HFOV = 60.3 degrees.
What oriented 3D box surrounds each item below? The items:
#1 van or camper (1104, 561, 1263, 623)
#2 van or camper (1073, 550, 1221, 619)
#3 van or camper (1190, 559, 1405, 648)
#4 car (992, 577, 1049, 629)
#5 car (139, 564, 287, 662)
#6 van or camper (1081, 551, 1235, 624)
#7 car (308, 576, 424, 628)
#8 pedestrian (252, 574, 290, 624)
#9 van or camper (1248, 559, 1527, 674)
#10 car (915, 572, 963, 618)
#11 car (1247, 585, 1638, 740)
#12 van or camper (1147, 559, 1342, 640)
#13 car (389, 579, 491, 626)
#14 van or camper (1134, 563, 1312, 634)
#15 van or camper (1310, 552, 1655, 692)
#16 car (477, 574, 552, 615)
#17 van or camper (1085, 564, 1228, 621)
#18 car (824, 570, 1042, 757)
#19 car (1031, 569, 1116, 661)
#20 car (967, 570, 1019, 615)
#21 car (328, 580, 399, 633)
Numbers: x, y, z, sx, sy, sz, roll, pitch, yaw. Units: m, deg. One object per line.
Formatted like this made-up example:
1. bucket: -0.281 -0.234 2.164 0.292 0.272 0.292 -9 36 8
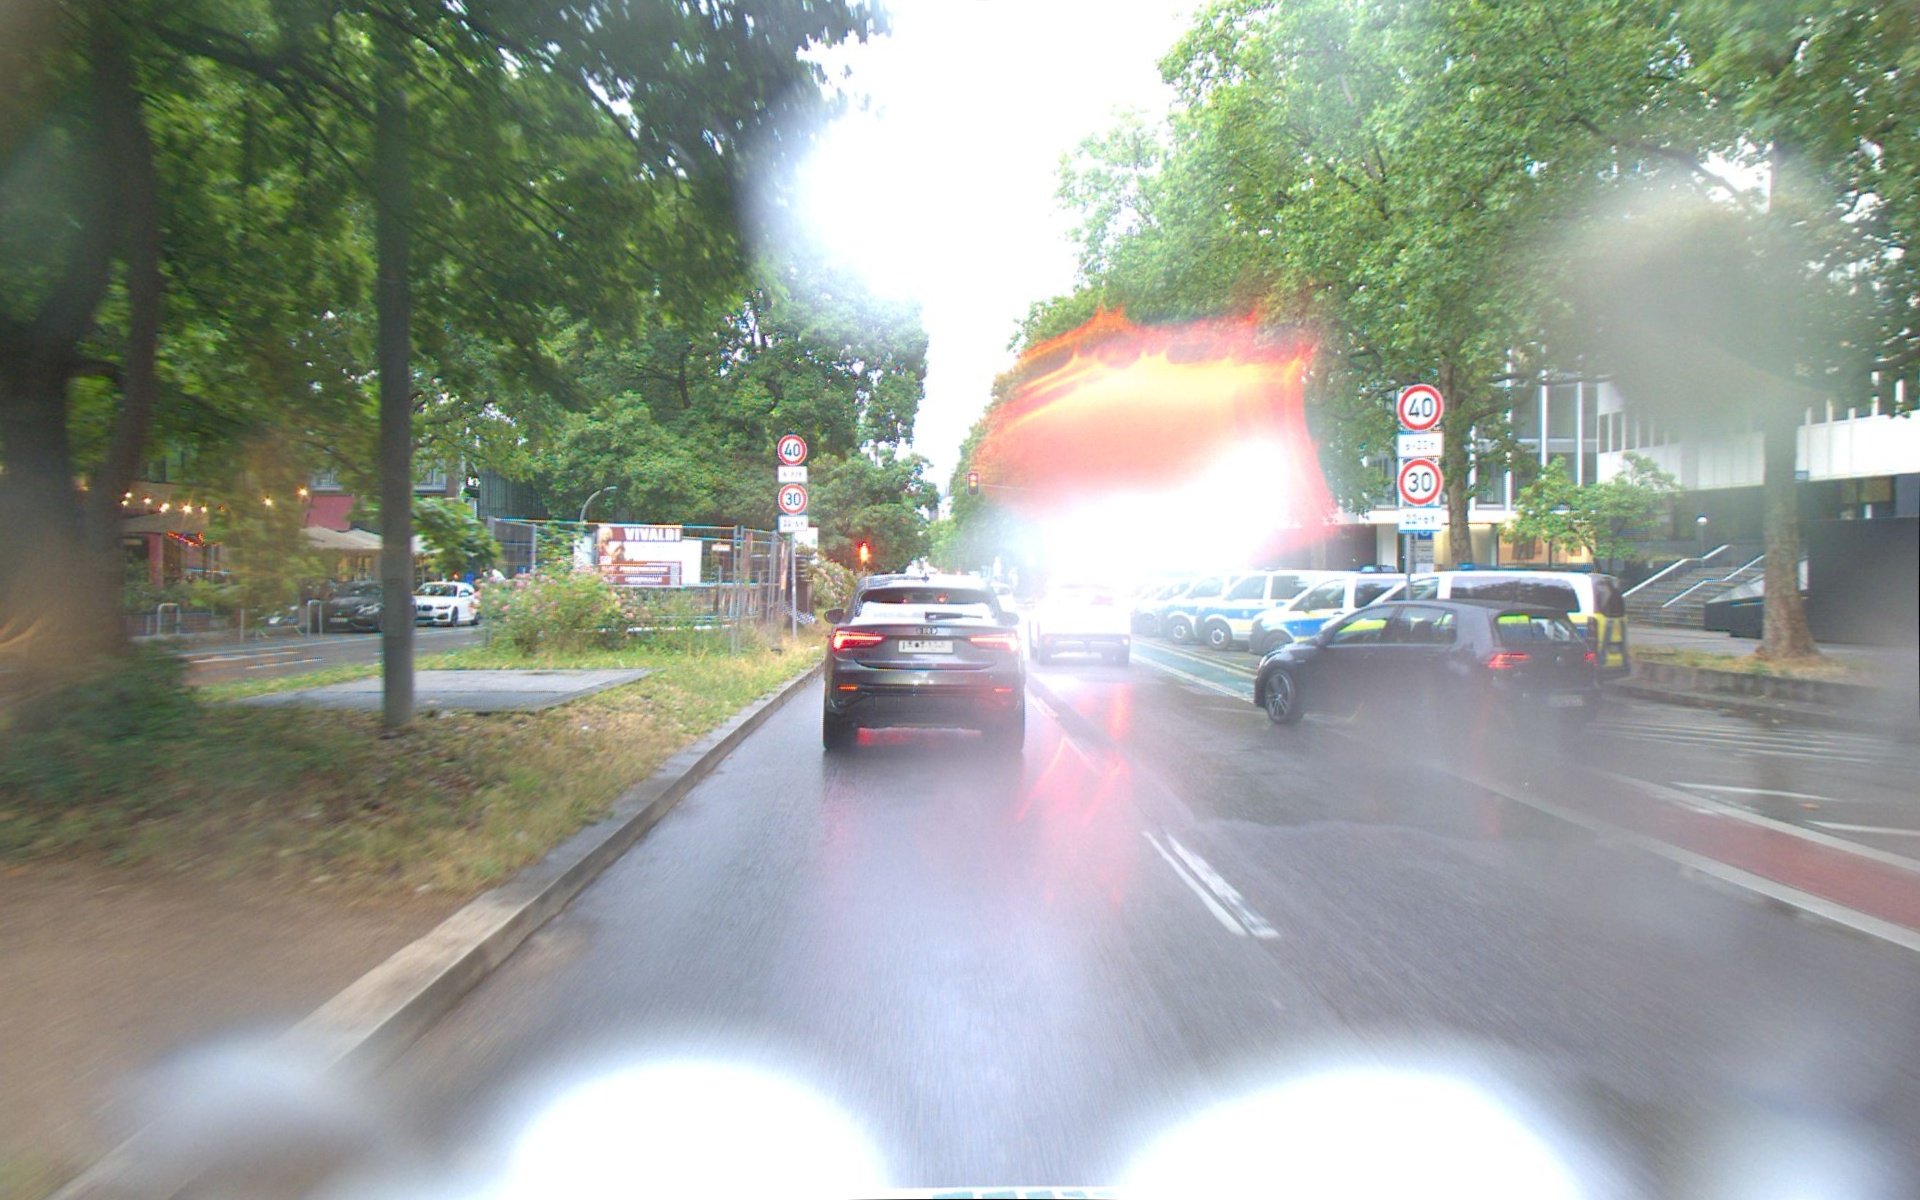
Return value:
1. van or camper: 7.730 -0.289 57.431 5.101 2.027 1.994 1 0 33
2. van or camper: 7.606 -0.653 67.565 5.700 2.724 2.139 1 1 36
3. van or camper: 8.086 0.044 39.852 4.757 2.033 1.861 1 1 36
4. car: 2.126 0.082 59.088 1.785 1.780 3.999 0 1 -1
5. car: -13.563 0.188 30.253 1.690 1.654 4.425 0 1 -14
6. van or camper: 7.638 -0.509 64.102 5.692 2.727 1.994 0 1 34
7. car: -16.918 0.021 47.325 1.788 1.419 4.483 0 1 -1
8. pedestrian: -19.900 -0.036 47.760 0.748 1.404 0.932 0 1 -4
9. van or camper: 8.441 0.272 32.850 4.986 2.054 1.990 2 1 35
10. car: -0.800 -0.222 60.089 1.687 1.605 3.961 0 1 -2
11. car: 5.050 0.571 17.812 1.747 1.437 3.959 -1 1 -30
12. van or camper: 7.506 -0.046 43.818 4.697 2.046 1.993 1 0 35
13. car: -17.000 0.059 54.299 1.953 1.393 4.539 2 1 -1
14. van or camper: 8.007 -0.090 50.626 5.006 2.060 2.098 1 1 37
15. van or camper: 8.244 0.283 26.320 4.850 2.026 1.994 1 1 37
16. car: -17.408 -0.244 64.814 1.954 1.535 4.515 -1 1 -3
17. van or camper: 7.268 -0.267 61.259 4.914 2.049 1.993 0 -1 35
18. car: -0.228 0.493 16.115 1.825 1.559 4.527 0 1 0
19. car: 2.202 0.249 32.555 1.404 1.714 2.978 -1 1 -1
20. car: 1.318 -0.326 67.662 1.953 1.780 3.999 0 1 -1
21. car: -16.766 0.155 46.556 1.029 1.412 2.693 0 1 -1
